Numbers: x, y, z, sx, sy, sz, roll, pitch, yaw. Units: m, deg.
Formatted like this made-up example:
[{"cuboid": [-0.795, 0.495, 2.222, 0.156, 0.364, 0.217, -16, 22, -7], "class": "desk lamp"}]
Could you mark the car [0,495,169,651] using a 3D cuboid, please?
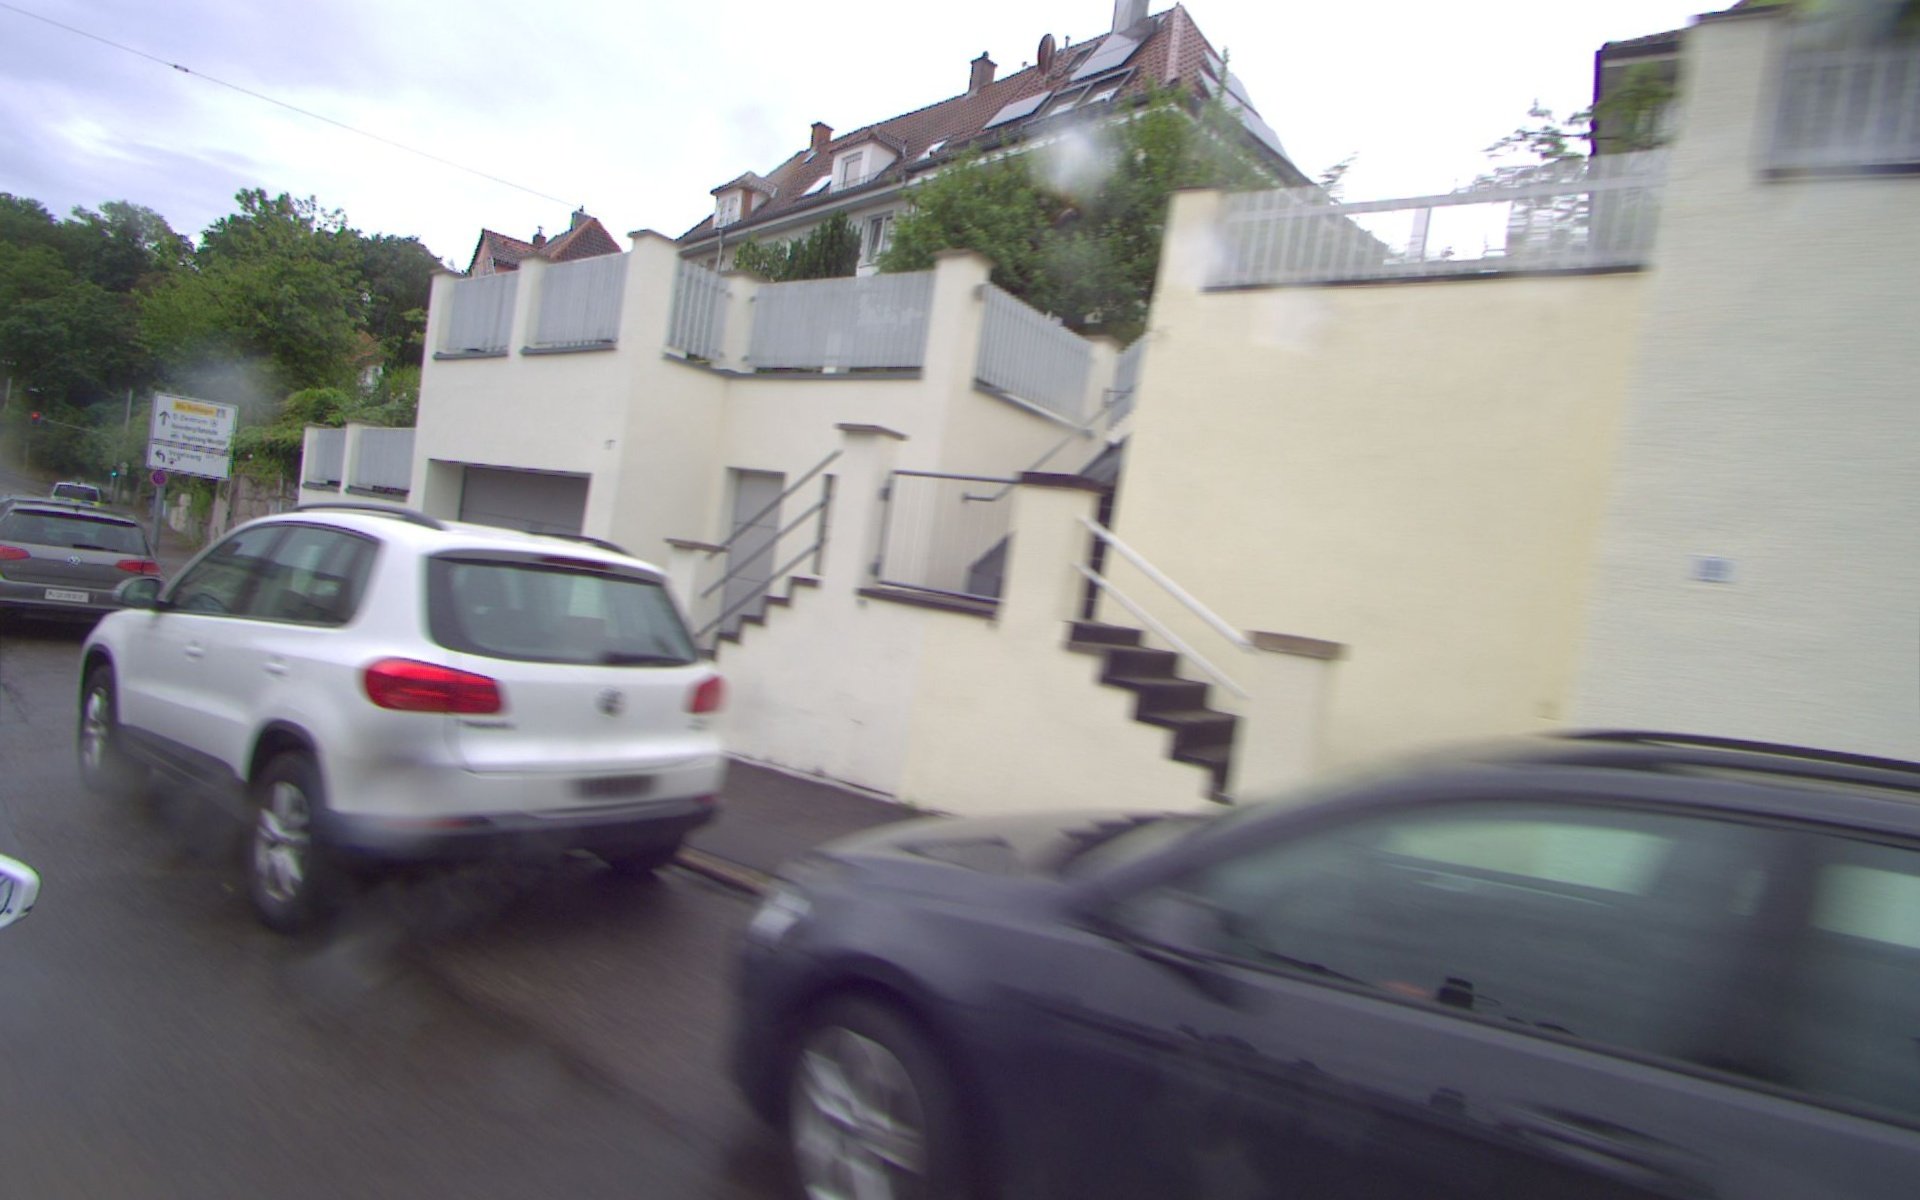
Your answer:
[{"cuboid": [-10.948, -0.420, 12.175, 1.637, 1.454, 4.120, 8, -1, -44], "class": "car"}]

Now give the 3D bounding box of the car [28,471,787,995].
[{"cuboid": [-3.087, 0.360, 5.263, 4.146, 1.669, 1.804, 7, -1, 37], "class": "car"}]

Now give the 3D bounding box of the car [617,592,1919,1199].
[{"cuboid": [1.328, 0.993, 2.331, 4.133, 1.501, 1.681, 6, -2, 32], "class": "car"}]

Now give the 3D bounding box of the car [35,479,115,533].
[{"cuboid": [-40.891, -4.283, 46.568, 2.299, 1.961, 4.280, 9, -2, -38], "class": "car"}]

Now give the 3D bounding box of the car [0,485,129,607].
[{"cuboid": [-14.343, -0.907, 15.722, 1.784, 1.513, 4.650, 8, -2, -42], "class": "car"}]
